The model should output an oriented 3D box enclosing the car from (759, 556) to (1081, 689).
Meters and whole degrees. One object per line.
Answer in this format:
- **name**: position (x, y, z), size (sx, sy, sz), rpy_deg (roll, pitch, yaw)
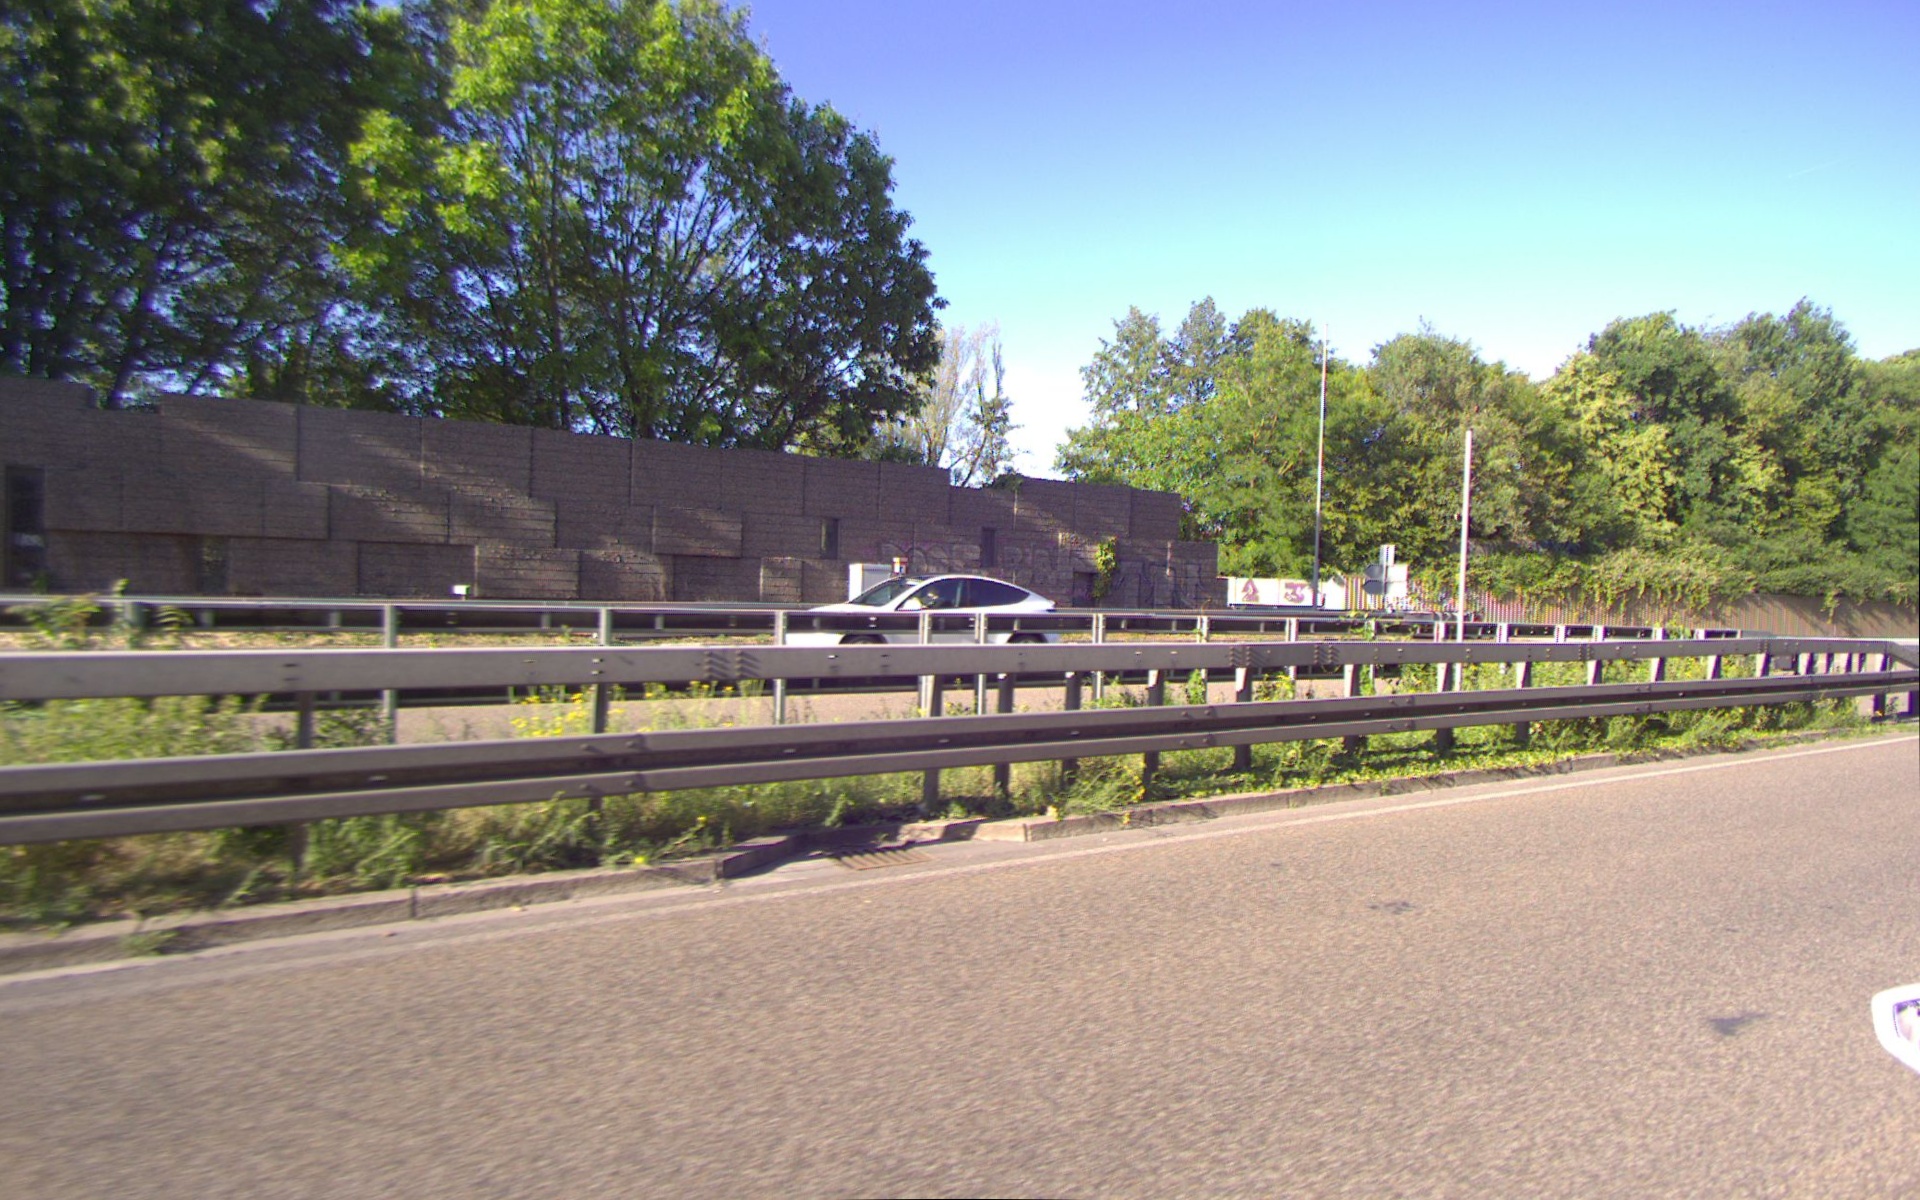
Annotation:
- **car**: position (-0.595, 0.286, 15.960), size (4.728, 1.807, 1.983), rpy_deg (0, 3, -30)
